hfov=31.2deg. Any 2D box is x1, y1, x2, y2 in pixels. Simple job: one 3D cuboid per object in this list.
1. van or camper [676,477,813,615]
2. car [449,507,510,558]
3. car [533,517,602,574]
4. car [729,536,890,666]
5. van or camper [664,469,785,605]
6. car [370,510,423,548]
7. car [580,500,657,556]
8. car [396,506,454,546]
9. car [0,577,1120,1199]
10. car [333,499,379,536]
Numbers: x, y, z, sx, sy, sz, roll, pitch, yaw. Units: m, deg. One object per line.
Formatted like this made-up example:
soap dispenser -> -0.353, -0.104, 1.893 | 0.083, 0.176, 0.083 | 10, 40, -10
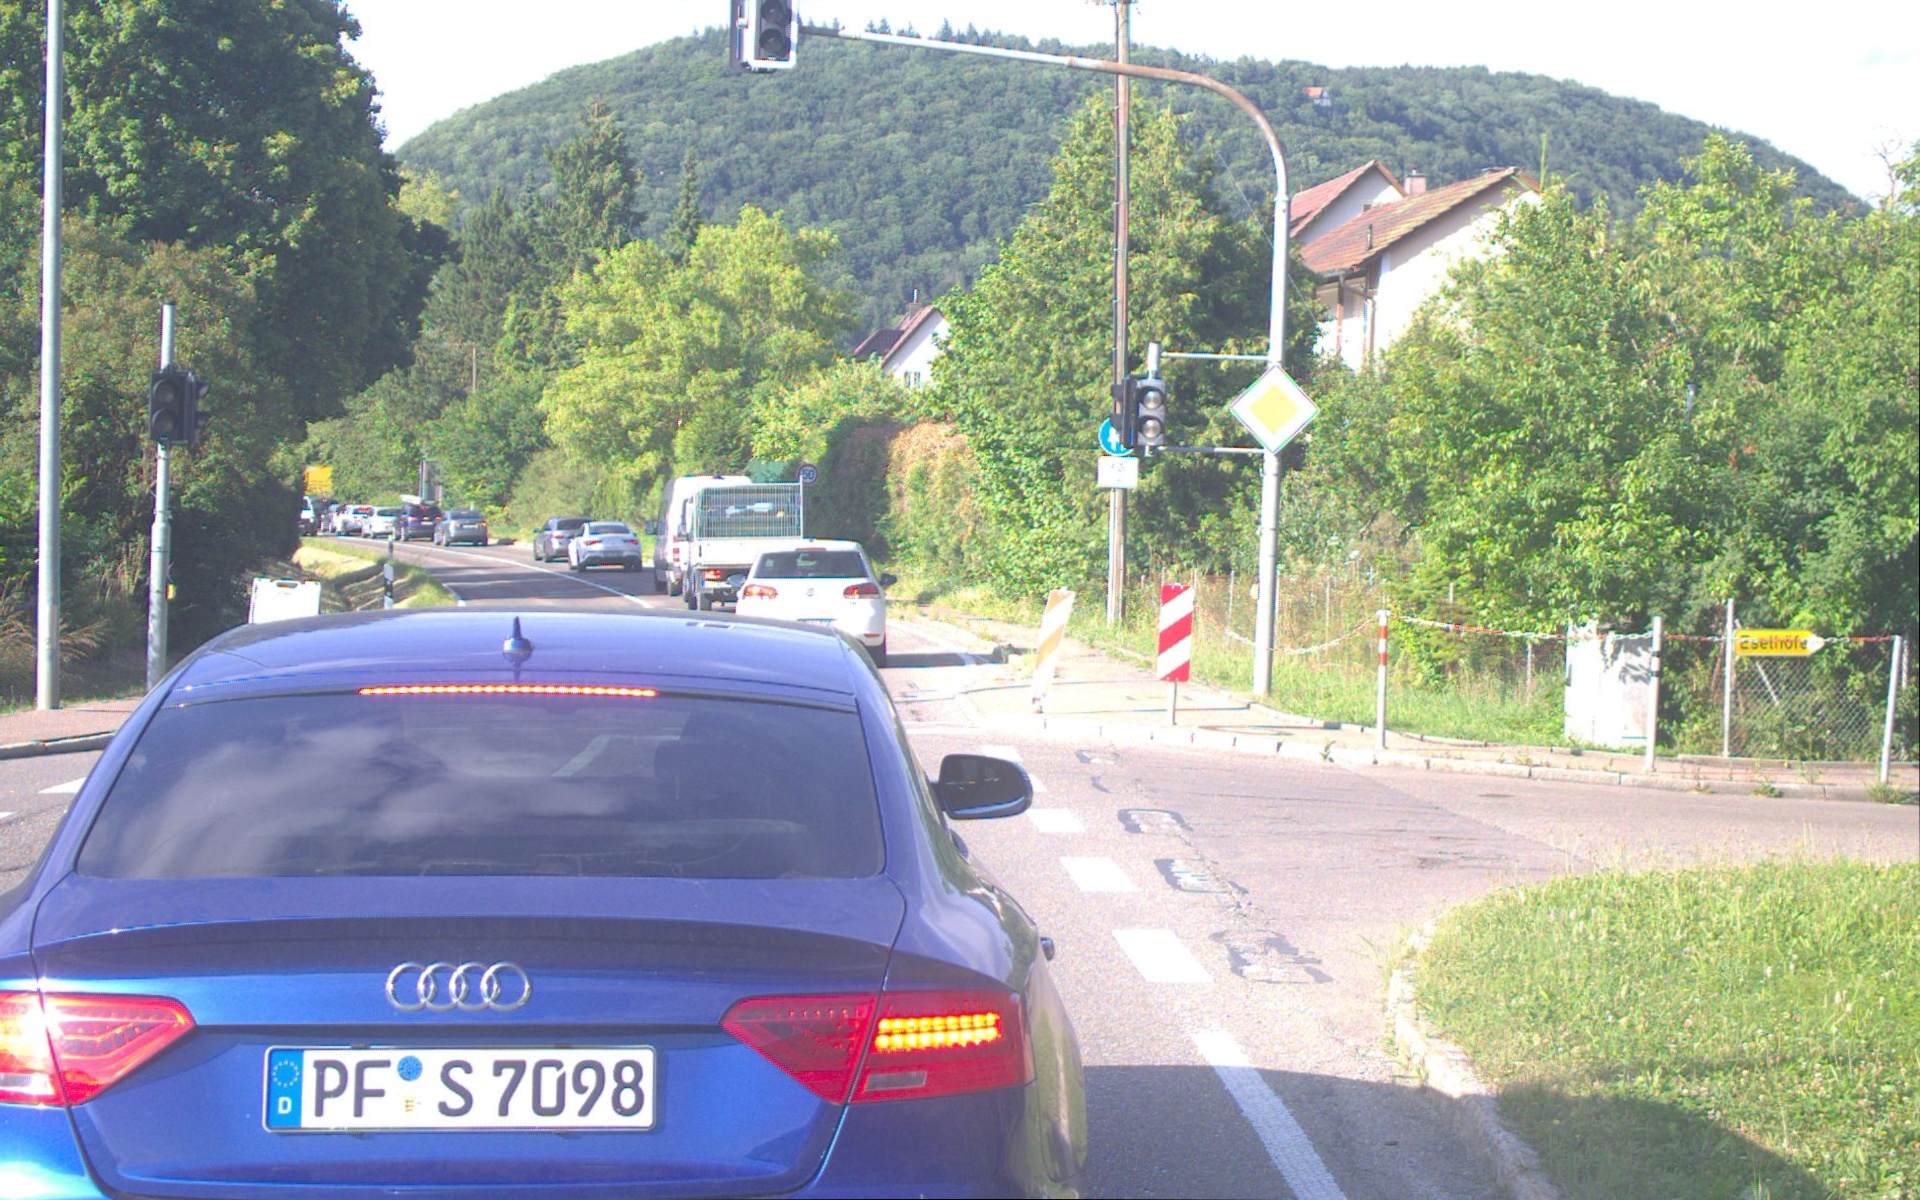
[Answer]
van or camper -> -3.946, -1.002, 62.125 | 2.179, 2.377, 5.371 | 0, 2, -6
car -> -19.275, -2.712, 137.817 | 1.993, 2.007, 4.001 | 0, 1, -15
car -> -12.609, -1.759, 110.284 | 1.796, 1.787, 4.001 | 0, 1, -12
car -> -1.770, -0.025, 40.971 | 1.771, 1.410, 4.174 | 2, 1, -2
van or camper -> -5.283, -1.434, 76.454 | 2.414, 2.894, 6.133 | 0, 2, -6
car -> -25.669, -3.243, 156.412 | 1.941, 1.678, 4.001 | -1, 1, -15
car -> -9.827, -2.075, 98.636 | 1.819, 1.546, 4.001 | 0, 2, -11
car -> -23.024, -3.189, 147.844 | 2.040, 1.678, 4.001 | 0, 2, -16
car -> -0.791, 0.698, 6.473 | 1.829, 1.404, 4.227 | -1, 1, -2
car -> -29.011, -3.953, 165.126 | 1.748, 1.776, 4.001 | -1, 1, -16
